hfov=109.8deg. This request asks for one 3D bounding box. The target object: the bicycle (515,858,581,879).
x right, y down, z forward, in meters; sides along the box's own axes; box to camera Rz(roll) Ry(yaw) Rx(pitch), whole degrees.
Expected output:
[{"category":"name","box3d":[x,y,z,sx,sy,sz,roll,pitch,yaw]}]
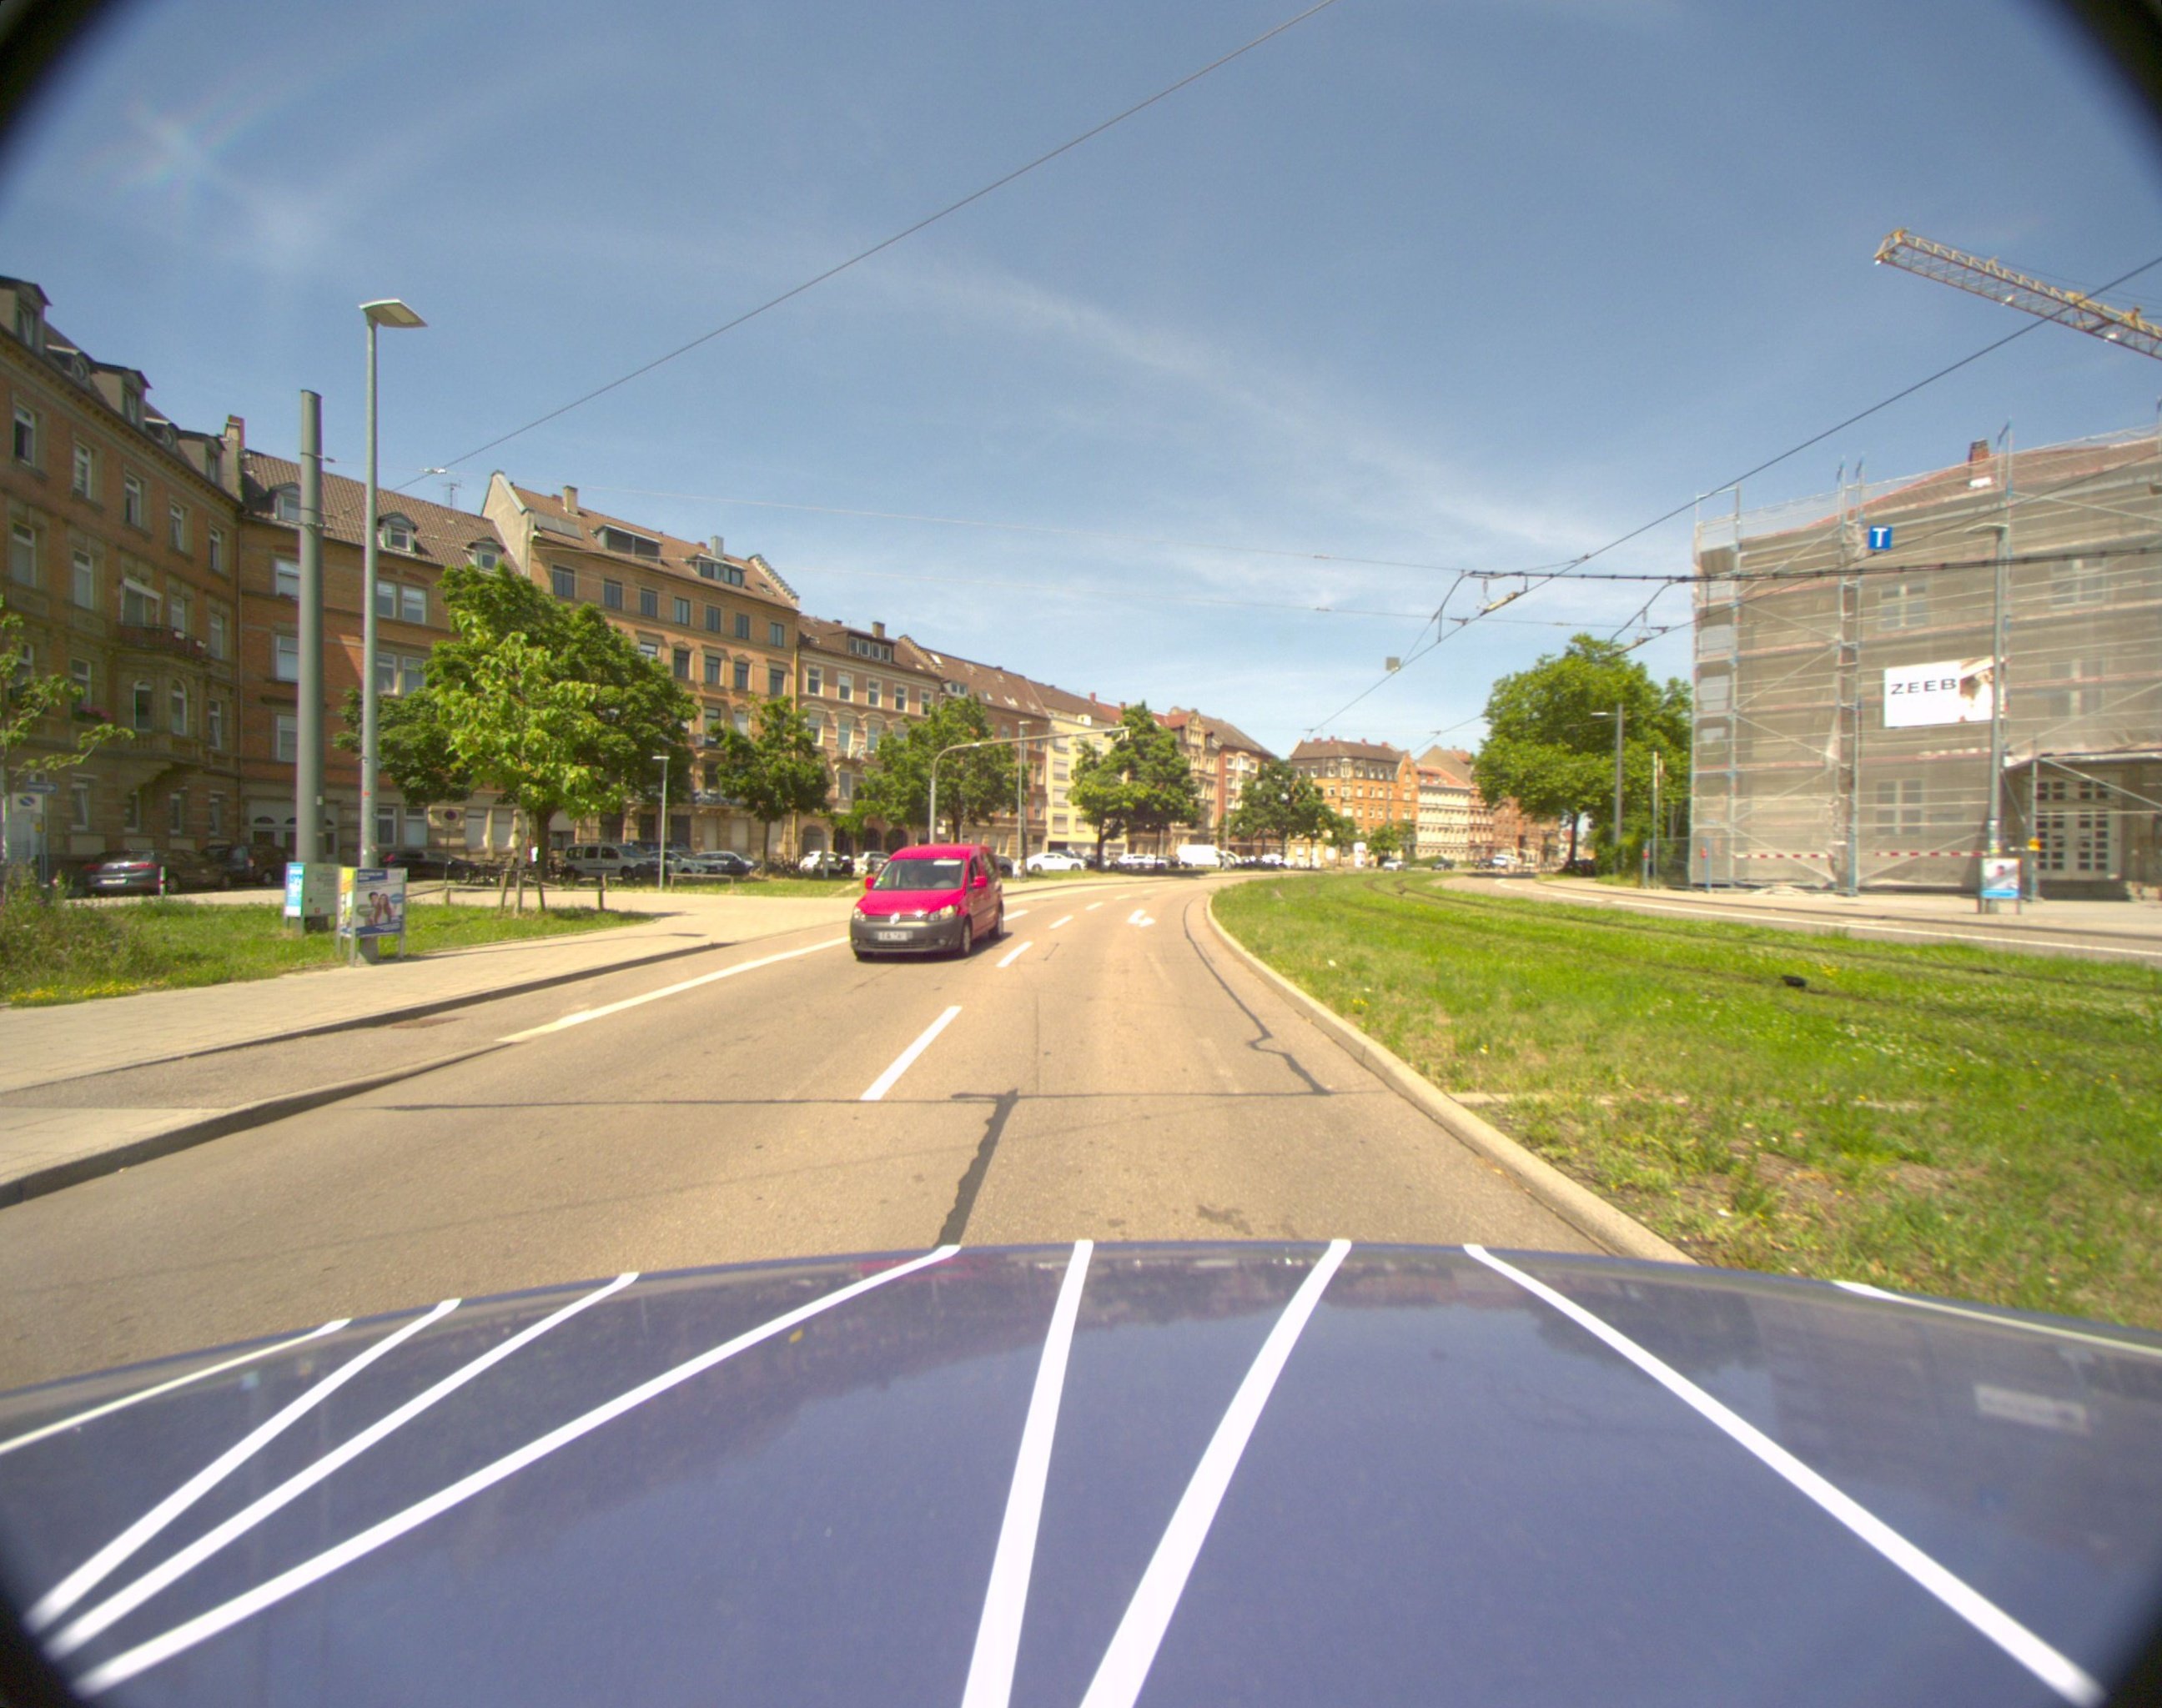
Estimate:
[{"category":"bicycle","box3d":[-23.207,0.634,33.094,2.426,0.930,0.508,0,1,-4]}]

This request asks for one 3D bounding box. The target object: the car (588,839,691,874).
[{"category":"car","box3d":[-25.104,0.139,43.316,1.920,1.892,4.664,-1,-1,40]}]

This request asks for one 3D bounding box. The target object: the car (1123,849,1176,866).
[{"category":"car","box3d":[6.085,0.326,68.148,4.688,1.419,1.973,-1,0,3]}]

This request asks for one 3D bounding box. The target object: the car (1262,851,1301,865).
[{"category":"car","box3d":[23.708,0.516,89.849,4.403,1.622,2.003,-1,0,18]}]

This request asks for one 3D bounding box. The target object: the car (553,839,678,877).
[{"category":"car","box3d":[-20.994,0.206,34.300,4.866,1.591,1.838,-1,0,13]}]

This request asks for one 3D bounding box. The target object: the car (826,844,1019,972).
[{"category":"car","box3d":[-2.496,0.807,13.486,1.858,1.823,5.169,-1,-1,6]}]

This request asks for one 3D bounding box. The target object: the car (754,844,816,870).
[{"category":"car","box3d":[-16.890,0.185,43.285,1.961,1.368,3.989,0,-1,-42]}]

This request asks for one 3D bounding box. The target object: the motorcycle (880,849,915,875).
[{"category":"motorcycle","box3d":[-10.208,0.429,42.266,0.675,1.405,1.860,2,1,41]}]

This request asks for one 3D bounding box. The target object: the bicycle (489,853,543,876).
[{"category":"bicycle","box3d":[-23.684,0.454,31.852,2.047,0.930,0.509,-1,0,9]}]

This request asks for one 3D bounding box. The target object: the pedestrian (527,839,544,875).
[{"category":"pedestrian","box3d":[-27.997,0.162,39.001,0.452,1.808,0.604,-1,0,39]}]

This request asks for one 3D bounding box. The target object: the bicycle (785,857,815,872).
[{"category":"bicycle","box3d":[-14.933,0.568,40.374,1.457,0.800,0.498,-1,0,-16]}]

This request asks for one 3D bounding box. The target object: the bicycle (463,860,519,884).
[{"category":"bicycle","box3d":[-23.686,0.710,30.527,2.047,0.930,0.509,-1,0,9]}]

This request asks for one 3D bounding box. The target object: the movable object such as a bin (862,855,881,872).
[{"category":"movable object such as a bin","box3d":[-11.860,0.534,43.032,0.703,0.931,0.986,-1,0,-39]}]

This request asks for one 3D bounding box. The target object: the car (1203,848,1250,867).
[{"category":"car","box3d":[15.332,0.361,80.071,4.840,1.961,2.078,-1,0,11]}]

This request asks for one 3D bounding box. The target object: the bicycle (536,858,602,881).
[{"category":"bicycle","box3d":[-21.871,0.662,32.483,2.426,0.930,0.508,-1,0,-4]}]

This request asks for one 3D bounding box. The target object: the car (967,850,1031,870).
[{"category":"car","box3d":[-5.700,0.404,53.074,3.991,1.305,1.975,-1,0,18]}]

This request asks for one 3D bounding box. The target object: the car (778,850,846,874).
[{"category":"car","box3d":[-18.290,0.536,51.794,1.837,1.521,4.009,-1,-1,41]}]

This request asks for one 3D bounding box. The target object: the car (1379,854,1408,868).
[{"category":"car","box3d":[35.581,0.762,86.405,1.796,1.564,4.009,-1,-1,41]}]

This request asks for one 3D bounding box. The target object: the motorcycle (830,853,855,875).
[{"category":"motorcycle","box3d":[-14.109,0.576,44.887,0.814,1.229,2.080,-1,0,-35]}]

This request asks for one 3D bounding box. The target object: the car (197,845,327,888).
[{"category":"car","box3d":[-31.413,0.473,29.314,1.779,1.520,4.075,-1,-1,-21]}]

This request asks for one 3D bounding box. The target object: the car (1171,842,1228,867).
[{"category":"car","box3d":[12.026,0.031,77.481,5.546,2.446,2.239,-1,0,3]}]

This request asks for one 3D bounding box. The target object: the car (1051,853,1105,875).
[{"category":"car","box3d":[-0.196,0.811,61.295,3.993,1.652,1.974,-1,0,13]}]

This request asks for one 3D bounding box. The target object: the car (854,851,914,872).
[{"category":"car","box3d":[-14.539,0.569,56.246,1.837,1.521,4.009,-1,-1,38]}]

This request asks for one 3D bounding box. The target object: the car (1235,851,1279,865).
[{"category":"car","box3d":[19.697,0.475,84.986,4.624,1.488,1.968,-1,0,16]}]

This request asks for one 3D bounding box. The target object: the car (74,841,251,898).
[{"category":"car","box3d":[-28.364,0.457,23.681,1.697,1.615,4.123,-1,-1,-21]}]

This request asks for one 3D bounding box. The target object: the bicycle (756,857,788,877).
[{"category":"bicycle","box3d":[-14.966,0.633,36.847,1.373,0.942,0.475,0,0,-30]}]

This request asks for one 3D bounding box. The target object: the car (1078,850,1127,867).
[{"category":"car","box3d":[1.811,0.364,63.286,3.996,1.392,1.713,-1,0,4]}]

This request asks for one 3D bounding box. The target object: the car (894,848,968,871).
[{"category":"car","box3d":[-9.554,0.360,48.469,4.340,1.368,1.584,-1,0,14]}]

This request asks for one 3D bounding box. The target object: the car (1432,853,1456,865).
[{"category":"car","box3d":[47.242,0.680,98.820,1.796,1.564,4.009,-1,-1,41]}]

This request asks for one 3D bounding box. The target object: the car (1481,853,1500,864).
[{"category":"car","box3d":[60.427,0.686,112.034,1.796,1.564,4.009,-1,-1,38]}]

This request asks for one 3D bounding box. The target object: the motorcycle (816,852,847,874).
[{"category":"motorcycle","box3d":[-13.168,0.479,40.081,1.823,1.113,0.529,-1,0,33]}]

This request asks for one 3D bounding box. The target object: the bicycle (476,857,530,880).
[{"category":"bicycle","box3d":[-23.771,0.585,31.249,2.047,0.930,0.509,-1,0,9]}]

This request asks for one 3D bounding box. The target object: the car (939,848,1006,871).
[{"category":"car","box3d":[-7.280,0.389,51.006,4.085,1.461,1.800,-1,0,12]}]

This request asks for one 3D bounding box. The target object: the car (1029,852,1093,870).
[{"category":"car","box3d":[-1.524,0.510,58.608,4.785,1.305,2.149,-1,0,-2]}]

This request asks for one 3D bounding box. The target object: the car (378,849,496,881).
[{"category":"car","box3d":[-30.534,0.500,36.106,1.772,1.411,4.009,-1,-1,38]}]

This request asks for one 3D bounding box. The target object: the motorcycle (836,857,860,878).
[{"category":"motorcycle","box3d":[-12.508,0.703,40.793,1.521,1.113,0.479,-1,0,39]}]

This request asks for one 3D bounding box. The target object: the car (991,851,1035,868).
[{"category":"car","box3d":[-5.922,0.449,66.351,1.779,1.411,3.724,-1,-1,39]}]

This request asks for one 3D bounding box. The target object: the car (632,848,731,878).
[{"category":"car","box3d":[-19.203,0.441,36.561,3.993,1.324,1.761,-1,0,13]}]

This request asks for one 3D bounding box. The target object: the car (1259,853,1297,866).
[{"category":"car","box3d":[22.591,0.617,87.075,3.991,1.391,1.826,-1,0,19]}]

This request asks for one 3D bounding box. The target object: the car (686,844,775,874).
[{"category":"car","box3d":[-17.862,0.256,38.749,3.862,1.424,1.609,-1,0,11]}]

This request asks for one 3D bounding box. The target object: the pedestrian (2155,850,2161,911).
[{"category":"pedestrian","box3d":[27.099,0.649,18.806,0.590,1.509,0.579,-1,0,-37]}]

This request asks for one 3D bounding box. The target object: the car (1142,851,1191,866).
[{"category":"car","box3d":[7.919,0.415,71.043,4.427,1.330,1.973,-1,0,3]}]
